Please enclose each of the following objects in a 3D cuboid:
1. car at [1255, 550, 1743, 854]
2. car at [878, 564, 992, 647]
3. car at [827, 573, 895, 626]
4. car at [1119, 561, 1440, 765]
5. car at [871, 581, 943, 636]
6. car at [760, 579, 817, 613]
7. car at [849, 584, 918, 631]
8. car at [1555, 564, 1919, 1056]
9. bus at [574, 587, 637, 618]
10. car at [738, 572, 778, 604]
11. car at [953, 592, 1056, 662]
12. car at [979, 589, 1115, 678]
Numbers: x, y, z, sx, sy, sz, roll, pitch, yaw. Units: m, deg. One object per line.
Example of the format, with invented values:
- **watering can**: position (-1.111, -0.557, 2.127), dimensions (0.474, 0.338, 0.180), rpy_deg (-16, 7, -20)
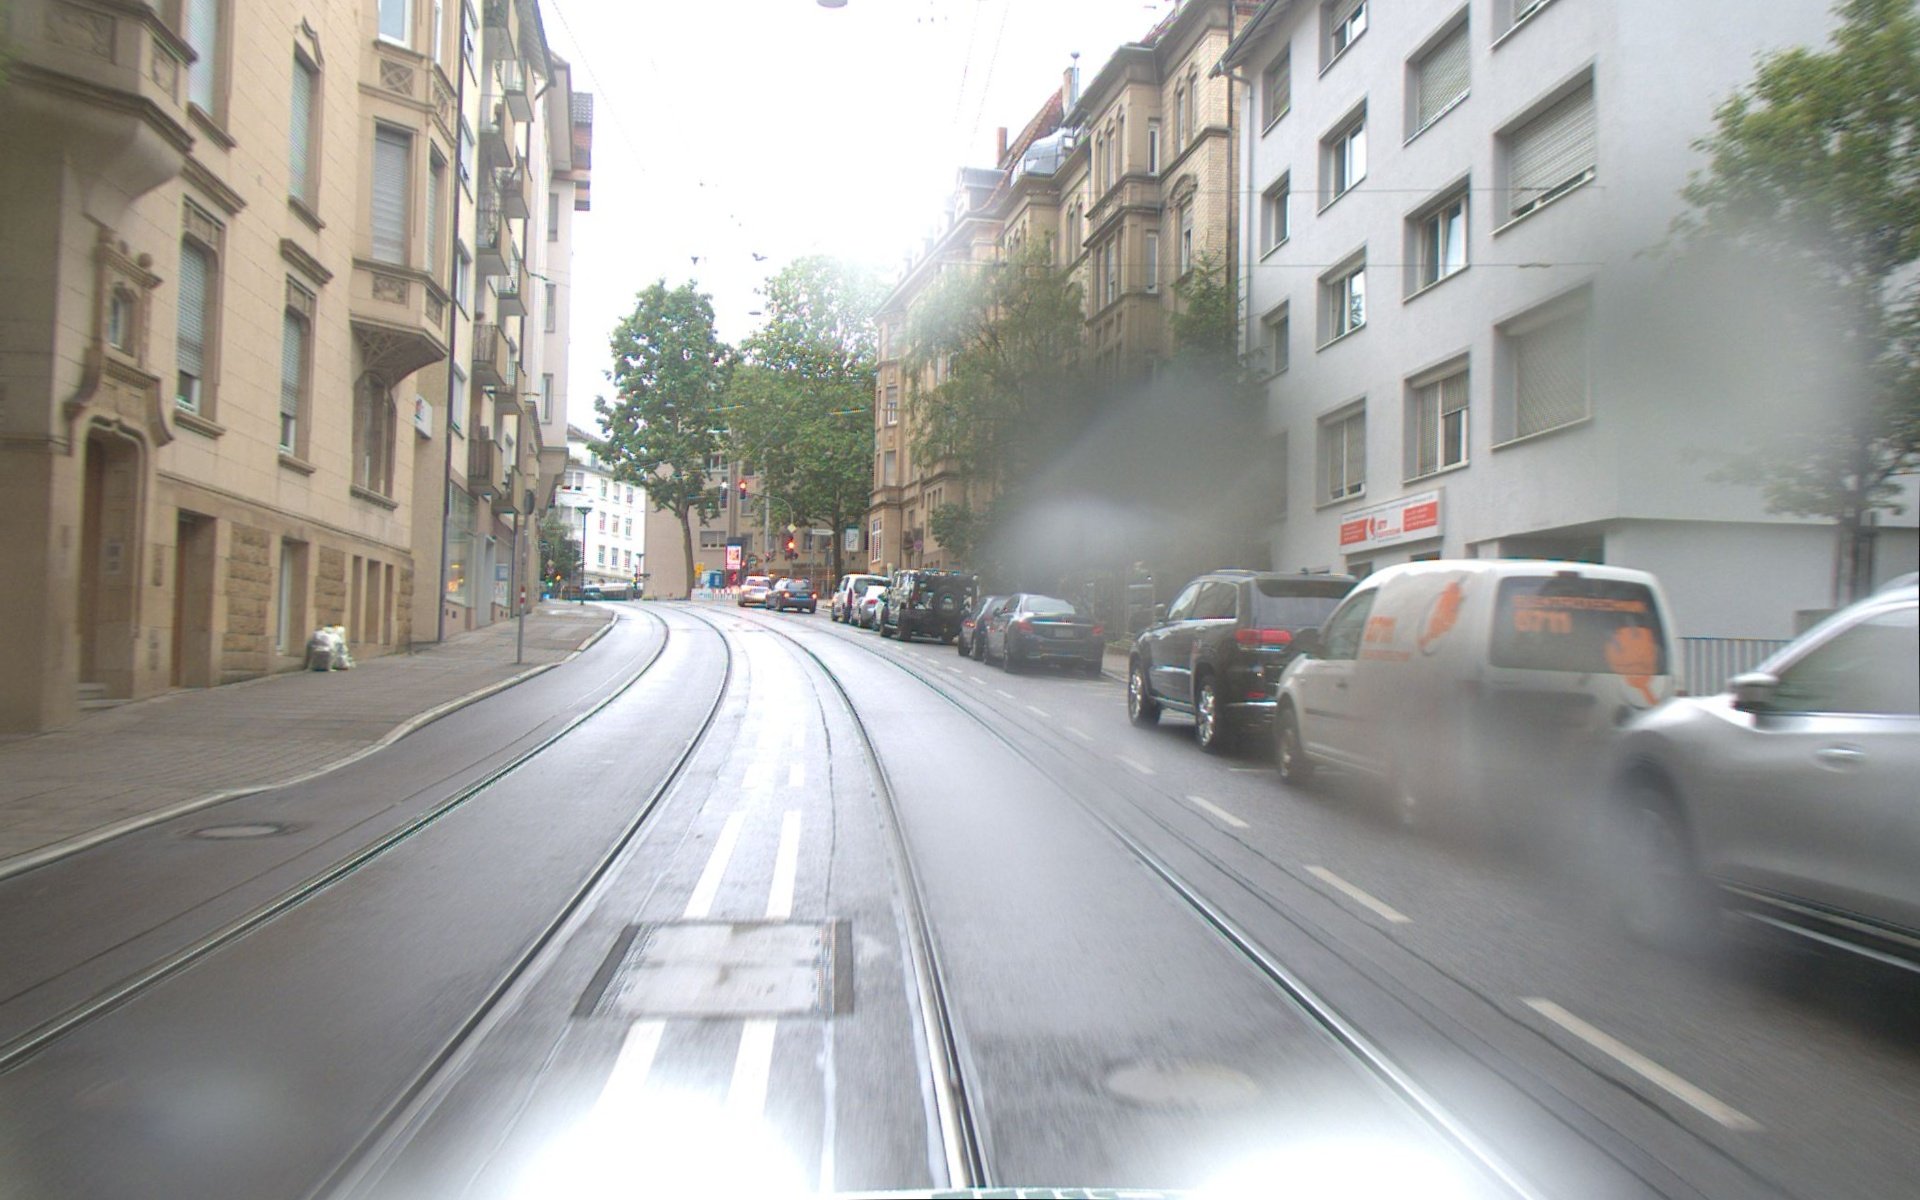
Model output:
- **car**: position (3.727, 0.625, 12.393), dimensions (1.744, 1.826, 4.465), rpy_deg (2, 0, -7)
- **car**: position (-0.778, 0.096, 45.521), dimensions (2.091, 2.048, 5.335), rpy_deg (3, 0, -12)
- **car**: position (-3.710, -0.044, 61.465), dimensions (1.766, 1.796, 4.449), rpy_deg (3, 0, -13)
- **car**: position (3.184, 0.577, 17.628), dimensions (1.906, 1.826, 4.813), rpy_deg (2, 0, -8)
- **car**: position (-1.675, 0.244, 51.442), dimensions (1.533, 1.573, 3.573), rpy_deg (3, 0, -13)
- **car**: position (-7.819, -0.194, 75.218), dimensions (1.684, 1.440, 4.014), rpy_deg (1, 1, -19)
- **car**: position (-2.654, 0.239, 56.403), dimensions (1.717, 1.425, 4.467), rpy_deg (3, 0, -11)
- **car**: position (4.163, 0.744, 6.223), dimensions (1.796, 1.685, 4.682), rpy_deg (2, 0, -5)
- **bus**: position (-34.979, 0.177, 163.509), dimensions (2.793, 2.911, 8.742), rpy_deg (0, 1, 11)
- **car**: position (-9.893, -0.600, 80.873), dimensions (1.679, 1.481, 3.544), rpy_deg (2, 1, -10)
- **car**: position (0.910, 0.546, 35.753), dimensions (1.646, 1.361, 3.877), rpy_deg (2, 1, -7)
- **car**: position (1.559, 0.573, 31.208), dimensions (1.760, 1.462, 4.604), rpy_deg (2, 1, -7)
